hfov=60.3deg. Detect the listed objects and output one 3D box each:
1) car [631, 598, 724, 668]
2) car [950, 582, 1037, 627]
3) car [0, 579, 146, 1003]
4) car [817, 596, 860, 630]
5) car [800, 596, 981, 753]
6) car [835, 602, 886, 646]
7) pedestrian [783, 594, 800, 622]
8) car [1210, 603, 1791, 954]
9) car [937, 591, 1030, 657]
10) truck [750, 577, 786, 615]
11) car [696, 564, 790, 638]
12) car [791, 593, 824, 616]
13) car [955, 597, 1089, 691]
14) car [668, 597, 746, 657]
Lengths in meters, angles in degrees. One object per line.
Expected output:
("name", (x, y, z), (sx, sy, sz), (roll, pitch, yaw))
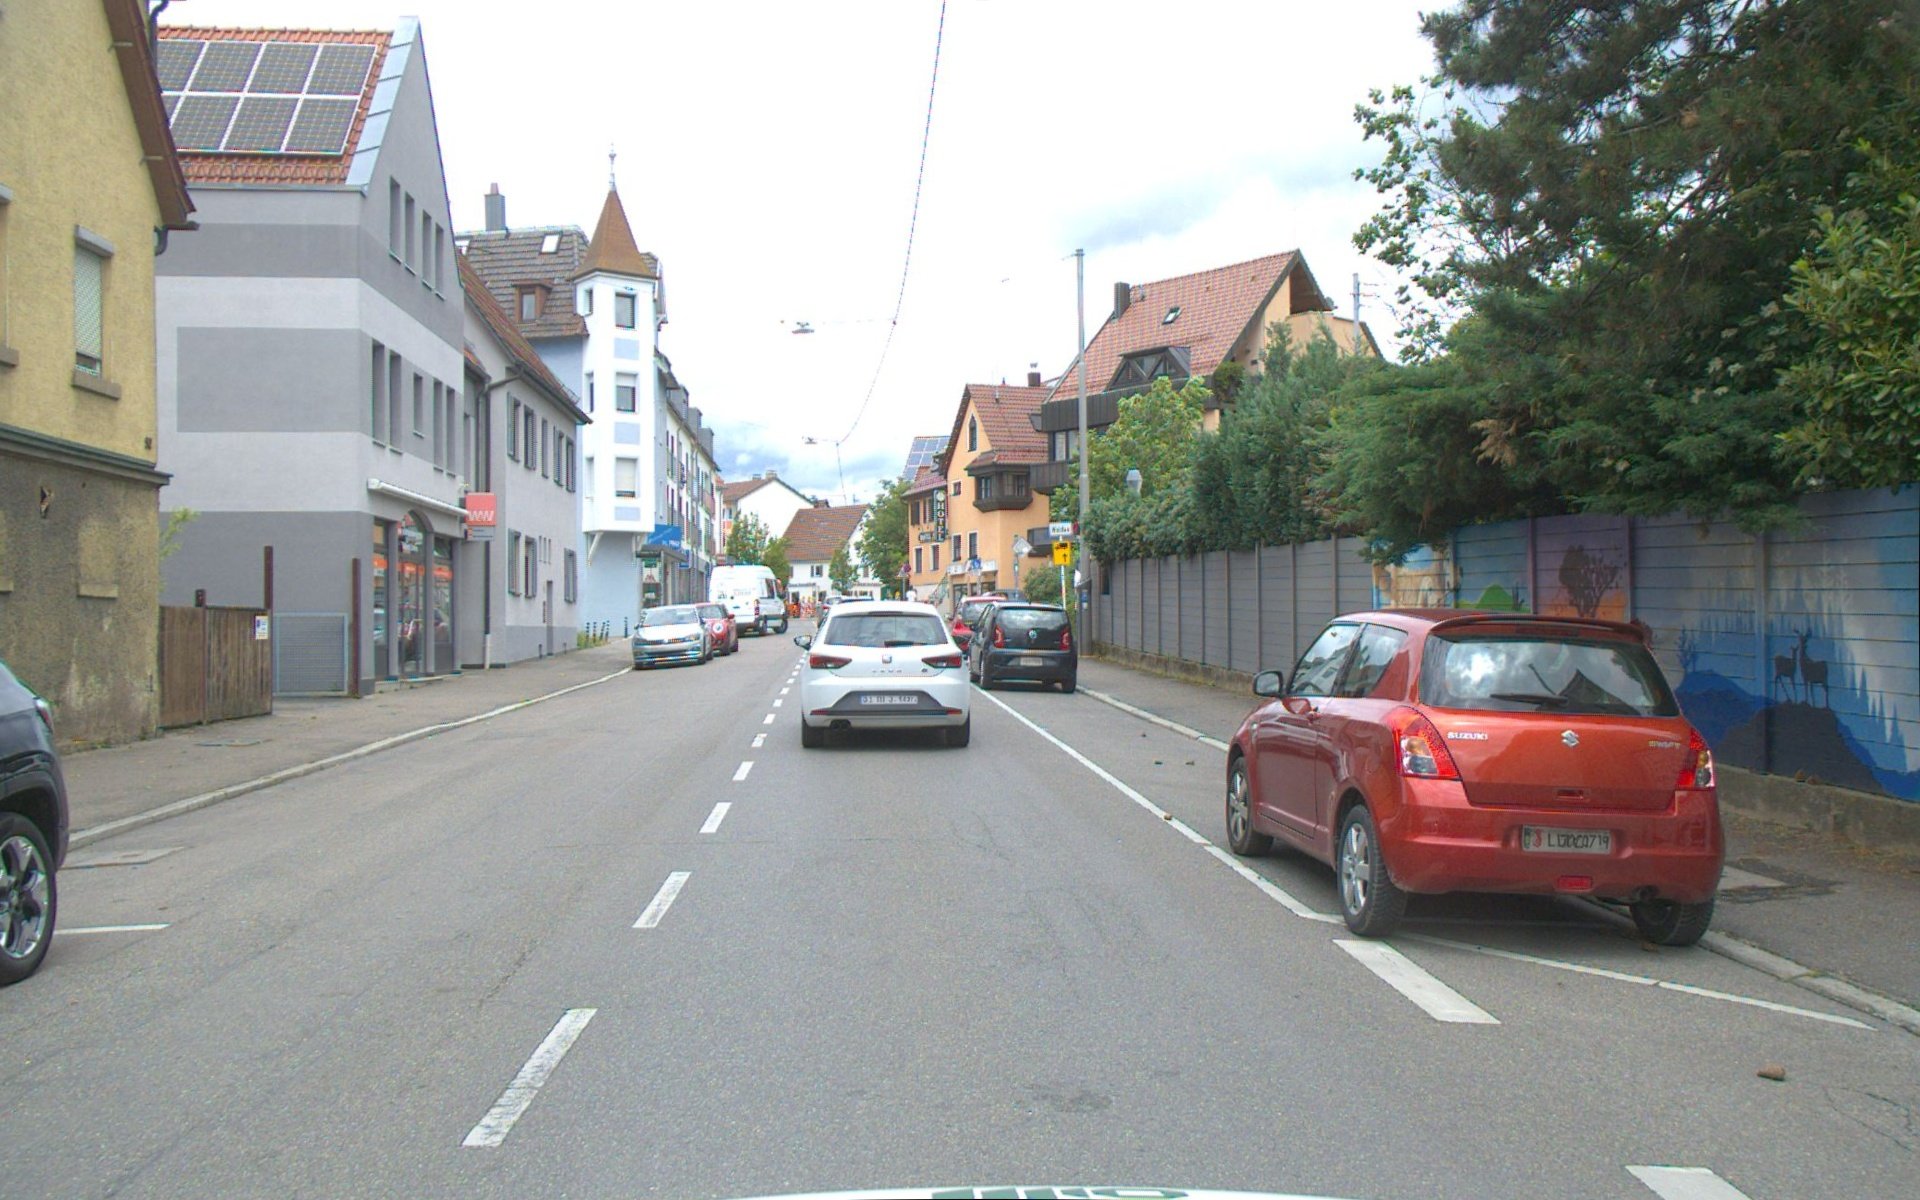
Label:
("car", (-6.869, 0.771, 40.566), (1.764, 1.505, 4.047), (-4, 0, -4))
("car", (1.187, 0.148, 59.007), (2.762, 1.539, 1.702), (0, 2, -15))
("car", (-4.662, 0.820, 5.494), (1.859, 1.647, 4.522), (-2, 2, -4))
("car", (-5.545, 0.564, 75.103), (1.725, 1.477, 3.994), (-1, 0, -7))
("car", (-0.790, 0.711, 17.914), (1.723, 1.477, 3.997), (-1, 0, -4))
("car", (-3.531, 0.823, 58.397), (1.724, 1.477, 3.997), (-1, 0, -4))
("pedestrian", (-12.451, 0.574, 122.278), (1.204, 2.049, 1.175), (0, 0, -4))
("car", (2.643, 0.781, 9.130), (1.723, 1.477, 3.998), (1, 0, -3))
("car", (0.522, 0.543, 39.896), (1.725, 1.477, 3.994), (-1, 0, -7))
("truck", (-12.944, -0.304, 111.643), (2.109, 2.502, 5.391), (0, 0, -3))
("car", (-8.253, 0.010, 63.522), (2.106, 2.734, 5.549), (0, 0, 8))
("car", (-11.751, 0.300, 128.033), (1.756, 1.731, 4.003), (0, 0, 6))
("car", (0.996, 0.709, 28.701), (1.725, 1.477, 3.994), (-1, 0, -7))
("car", (-7.040, 0.722, 46.297), (1.764, 1.505, 4.047), (-4, 0, -4))
